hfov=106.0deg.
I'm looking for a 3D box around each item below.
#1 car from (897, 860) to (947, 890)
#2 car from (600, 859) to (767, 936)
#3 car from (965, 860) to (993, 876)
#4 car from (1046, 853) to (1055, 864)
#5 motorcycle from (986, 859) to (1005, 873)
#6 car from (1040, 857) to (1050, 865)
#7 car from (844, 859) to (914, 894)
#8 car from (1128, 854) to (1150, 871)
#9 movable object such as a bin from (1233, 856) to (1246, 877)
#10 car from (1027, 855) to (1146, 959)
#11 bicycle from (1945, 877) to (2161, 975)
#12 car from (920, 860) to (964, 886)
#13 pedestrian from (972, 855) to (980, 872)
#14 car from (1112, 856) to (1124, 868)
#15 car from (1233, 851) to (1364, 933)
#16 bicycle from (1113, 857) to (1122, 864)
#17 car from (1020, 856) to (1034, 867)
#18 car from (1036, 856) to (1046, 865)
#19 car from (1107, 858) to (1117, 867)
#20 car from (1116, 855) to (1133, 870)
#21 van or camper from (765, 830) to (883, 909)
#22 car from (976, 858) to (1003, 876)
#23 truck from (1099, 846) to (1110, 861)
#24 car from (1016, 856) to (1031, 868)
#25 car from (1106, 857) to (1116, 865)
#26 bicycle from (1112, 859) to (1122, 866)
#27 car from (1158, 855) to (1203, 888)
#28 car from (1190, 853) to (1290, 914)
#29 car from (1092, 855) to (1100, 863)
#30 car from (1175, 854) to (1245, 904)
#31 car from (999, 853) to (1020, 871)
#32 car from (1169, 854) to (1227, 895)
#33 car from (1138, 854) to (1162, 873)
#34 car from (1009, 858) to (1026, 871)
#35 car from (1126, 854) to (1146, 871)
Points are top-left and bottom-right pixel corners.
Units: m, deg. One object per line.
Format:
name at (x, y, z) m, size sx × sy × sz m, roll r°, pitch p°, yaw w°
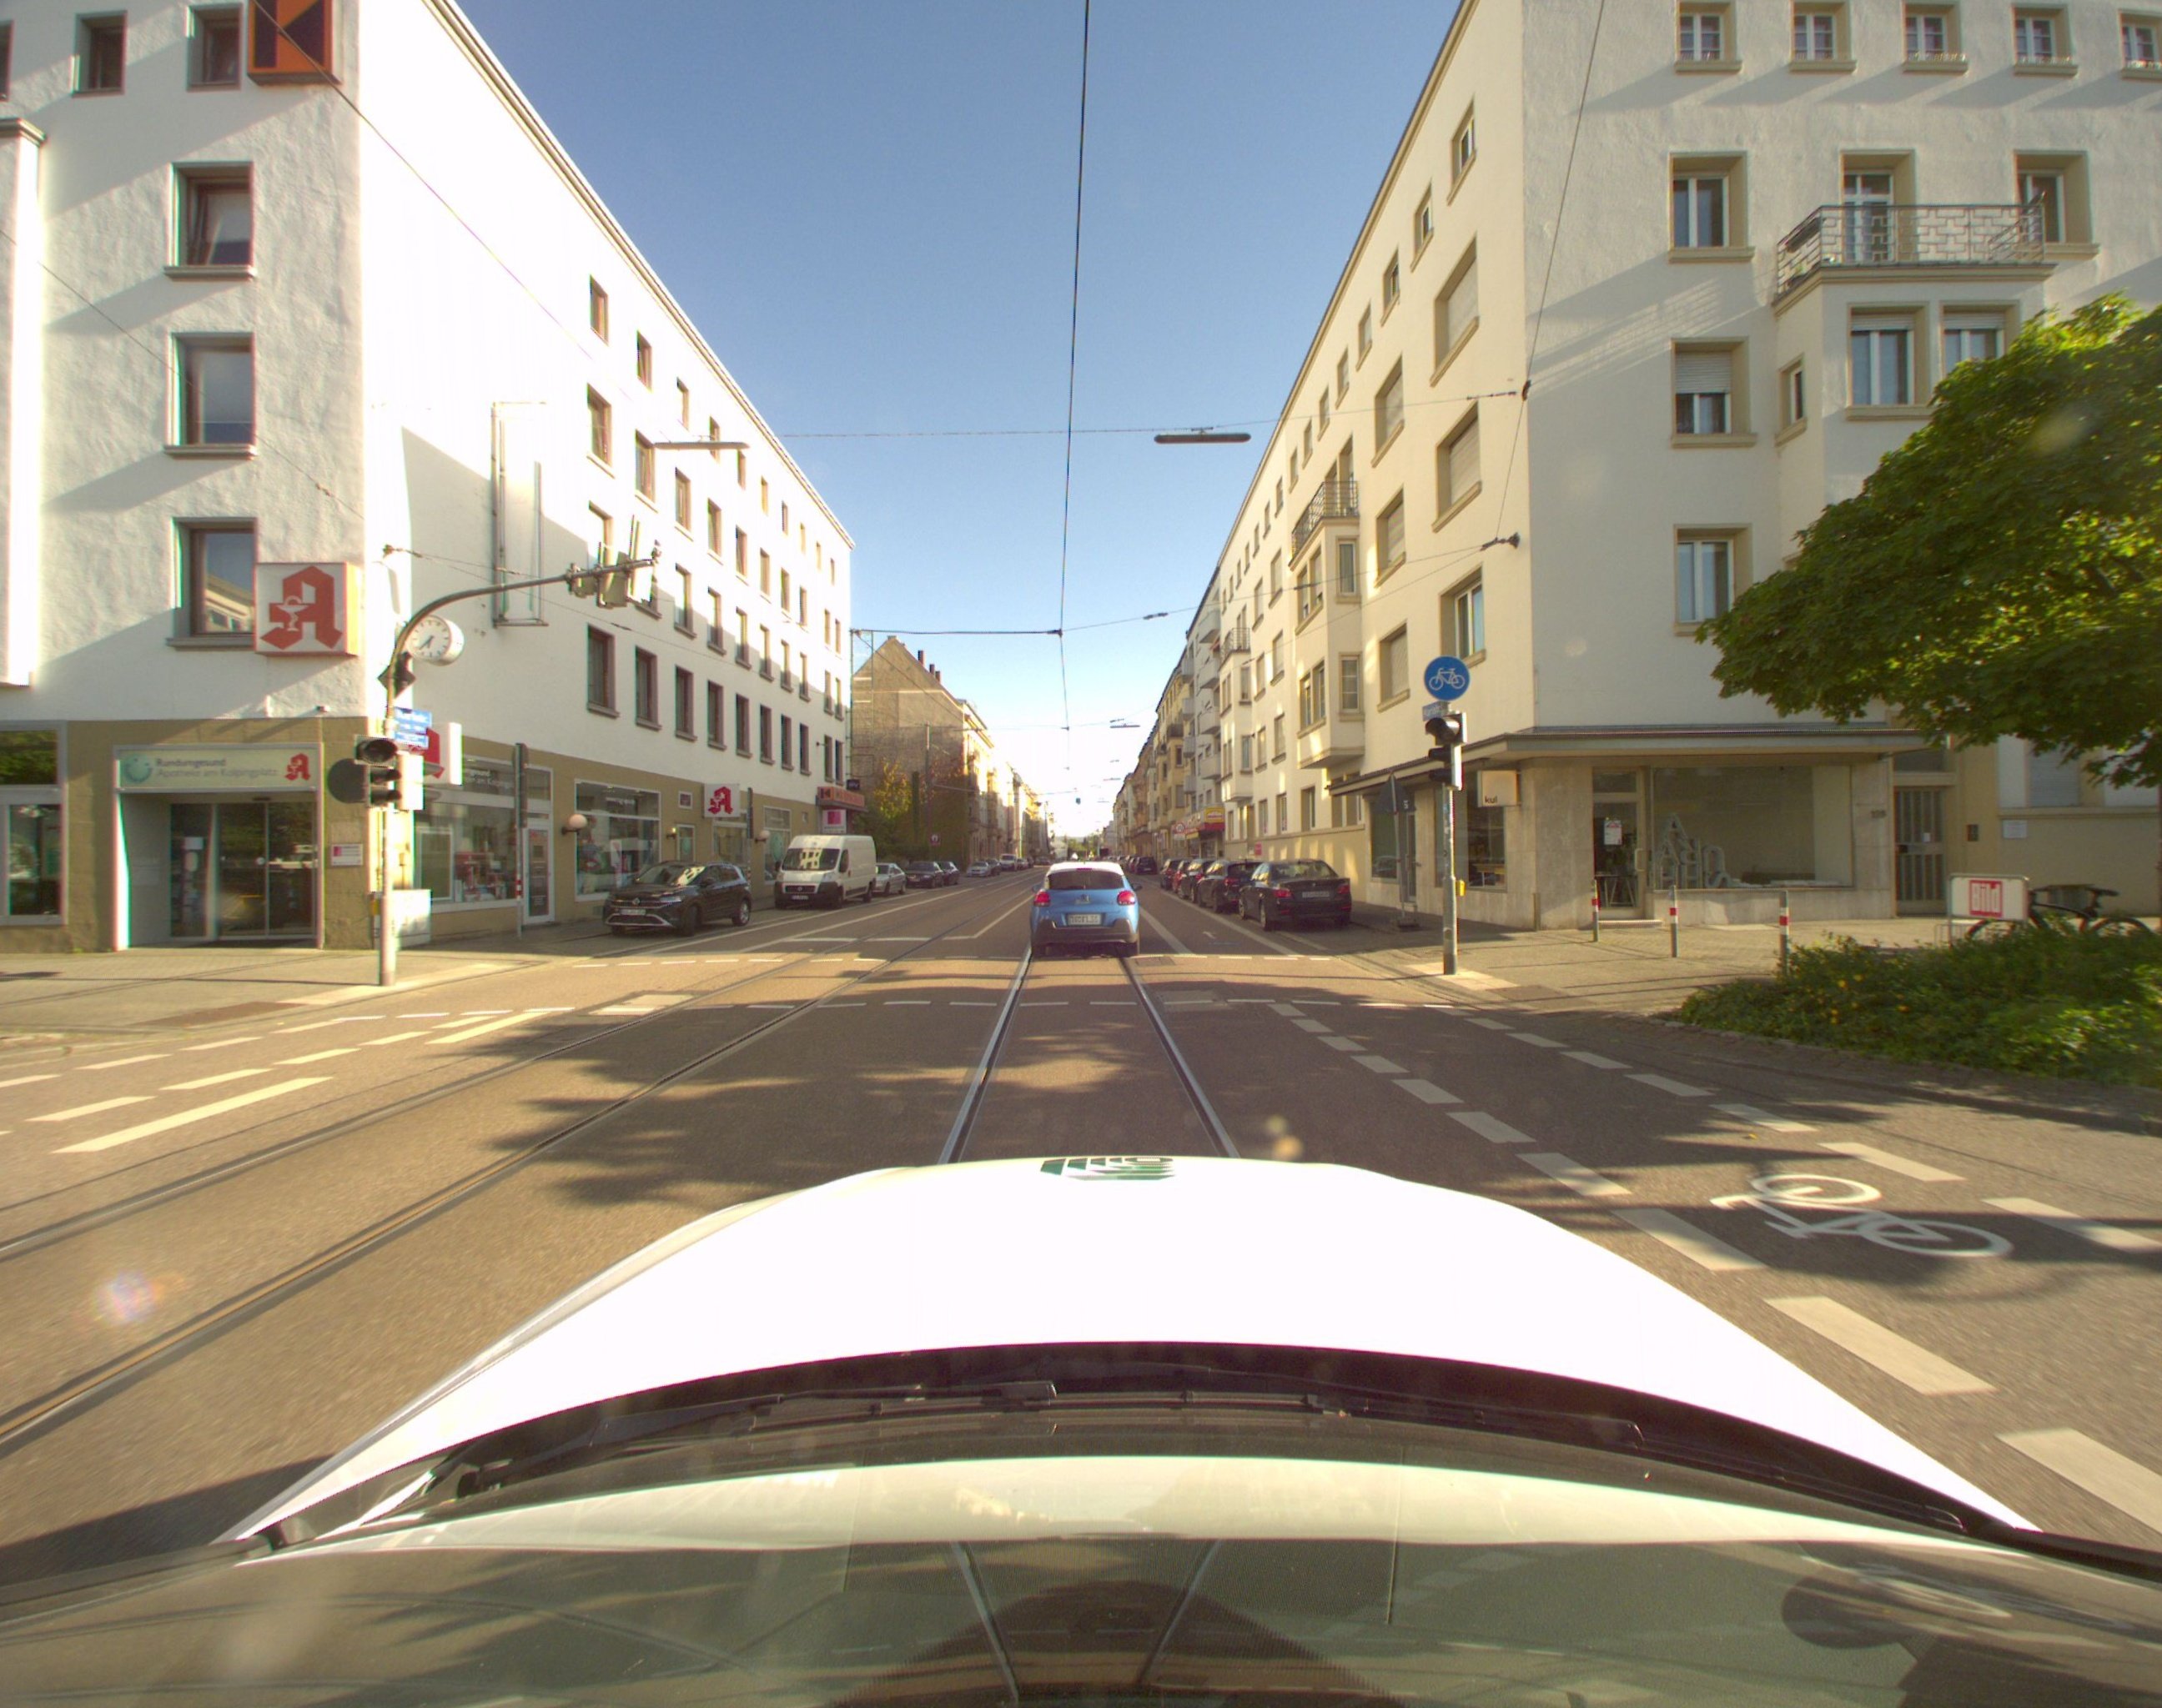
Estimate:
car at (-8.552, 1.085, 44.157) m, size 1.777 × 1.481 × 4.699 m, roll 1°, pitch 0°, yaw 0°
car at (-9.004, 0.917, 18.863) m, size 1.776 × 1.552 × 3.994 m, roll 1°, pitch 0°, yaw 2°
car at (-8.614, 1.163, 68.987) m, size 1.777 × 1.314 × 4.221 m, roll 1°, pitch 0°, yaw 0°
car at (-7.039, 1.069, 189.239) m, size 2.138 × 2.475 × 4.977 m, roll 1°, pitch 0°, yaw -2°
motorcycle at (-8.548, 1.166, 81.270) m, size 0.875 × 1.351 × 1.970 m, roll -1°, pitch 0°, yaw 33°
car at (-7.276, 1.454, 165.276) m, size 1.778 × 1.627 × 4.606 m, roll 1°, pitch 0°, yaw -1°
car at (-8.762, 0.959, 35.691) m, size 1.776 × 1.398 × 4.447 m, roll 1°, pitch 0°, yaw 2°
car at (5.364, 0.798, 75.918) m, size 1.852 × 1.455 × 4.711 m, roll -1°, pitch 0°, yaw 2°
movable object such as a bin at (7.863, 0.618, 40.422) m, size 0.556 × 1.057 × 0.554 m, roll -1°, pitch 0°, yaw -1°
car at (0.110, 0.797, 14.048) m, size 1.729 × 1.507 × 3.992 m, roll 1°, pitch 0°, yaw 1°
bicycle at (10.101, 0.744, 8.478) m, size 1.654 × 0.984 × 0.360 m, roll -1°, pitch -1°, yaw 7°
car at (-8.558, 1.136, 50.513) m, size 1.777 × 1.446 × 4.842 m, roll 1°, pitch 0°, yaw 1°
pedestrian at (-10.627, 0.969, 82.438) m, size 0.677 × 1.724 × 0.616 m, roll 0°, pitch -1°, yaw 0°
car at (5.485, 1.166, 120.478) m, size 1.747 × 1.594 × 3.731 m, roll -1°, pitch 0°, yaw 2°
car at (4.754, 0.760, 18.567) m, size 1.742 × 1.507 × 4.921 m, roll -4°, pitch 0°, yaw 2°
bicycle at (6.638, 1.106, 148.050) m, size 1.717 × 1.154 × 0.469 m, roll -4°, pitch 0°, yaw 0°
car at (-7.856, 1.132, 119.168) m, size 1.777 × 1.553 × 3.019 m, roll 1°, pitch 0°, yaw 0°
car at (-7.619, 1.226, 154.327) m, size 1.778 × 1.690 × 4.665 m, roll 1°, pitch 0°, yaw -1°
car at (5.856, 1.662, 154.134) m, size 1.777 × 1.632 × 4.000 m, roll -1°, pitch 0°, yaw 1°
car at (5.278, 1.031, 99.011) m, size 1.837 × 1.691 × 4.505 m, roll -1°, pitch 0°, yaw 1°
van or camper at (-8.805, 0.501, 28.626) m, size 2.165 × 2.467 × 6.230 m, roll 1°, pitch 0°, yaw 0°
car at (-8.344, 1.136, 74.614) m, size 1.776 × 1.565 × 4.613 m, roll 1°, pitch 0°, yaw 2°
truck at (6.441, -0.097, 224.893) m, size 2.842 × 4.083 × 11.274 m, roll -1°, pitch 0°, yaw 2°
car at (-8.042, 1.122, 113.921) m, size 1.778 × 1.622 × 4.177 m, roll 1°, pitch 0°, yaw -2°
car at (5.886, 1.409, 159.511) m, size 1.777 × 1.576 × 4.326 m, roll -1°, pitch 0°, yaw 1°
bicycle at (6.669, 1.597, 150.868) m, size 1.717 × 1.154 × 0.469 m, roll -4°, pitch 0°, yaw 0°
car at (4.700, 0.795, 39.029) m, size 1.704 × 1.407 × 4.360 m, roll -4°, pitch 0°, yaw 2°
car at (4.544, 0.801, 23.978) m, size 1.852 × 1.507 × 4.503 m, roll -4°, pitch 0°, yaw -2°
car at (3.406, 1.176, 187.941) m, size 1.814 × 1.894 × 4.000 m, roll 0°, pitch 0°, yaw 0°
car at (4.437, 0.811, 28.505) m, size 1.850 × 1.507 × 4.097 m, roll -4°, pitch 0°, yaw 2°
car at (-8.150, 0.942, 92.896) m, size 1.967 × 1.949 × 5.250 m, roll 1°, pitch 0°, yaw 0°
car at (4.763, 0.815, 33.713) m, size 1.850 × 1.473 × 3.990 m, roll -4°, pitch 0°, yaw 2°
car at (5.681, 0.777, 67.340) m, size 1.712 × 1.491 × 4.002 m, roll -2°, pitch 0°, yaw 1°
car at (-7.983, 1.295, 102.682) m, size 1.778 × 1.523 × 4.358 m, roll 1°, pitch 0°, yaw -1°
car at (5.505, 0.850, 82.394) m, size 1.852 × 1.665 × 4.563 m, roll -1°, pitch 0°, yaw 2°
